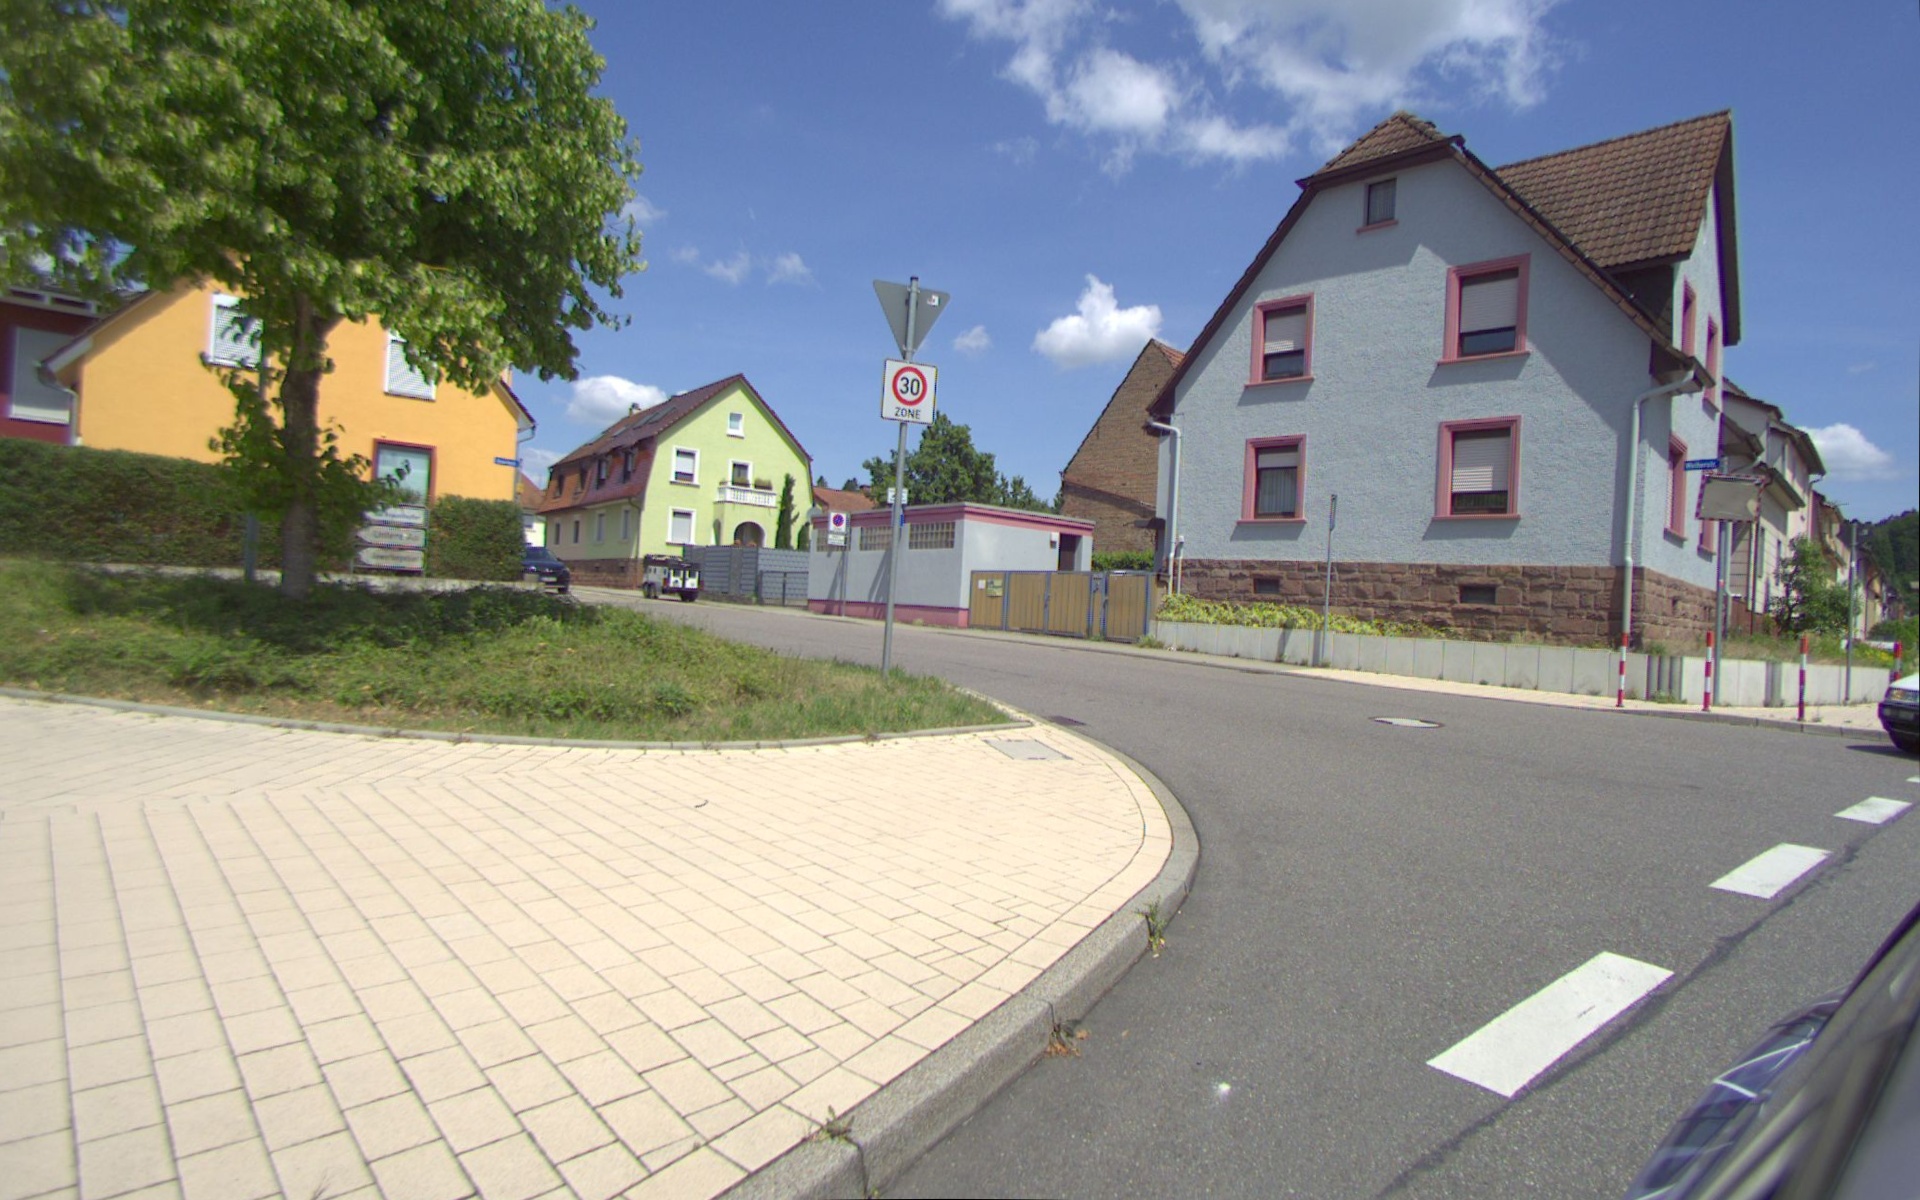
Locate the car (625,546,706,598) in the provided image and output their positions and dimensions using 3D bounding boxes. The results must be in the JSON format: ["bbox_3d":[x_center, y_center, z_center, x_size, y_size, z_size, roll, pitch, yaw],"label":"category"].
[{"bbox_3d":[-11.276,-1.045,38.602,1.613,1.851,3.998,2,0,-37],"label":"car"}]

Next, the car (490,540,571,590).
[{"bbox_3d":[-14.893,-1.174,34.976,1.613,1.558,3.998,2,0,-37],"label":"car"}]

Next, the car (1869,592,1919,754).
[{"bbox_3d":[12.263,0.856,10.727,4.730,1.665,1.685,3,-2,-17],"label":"car"}]
